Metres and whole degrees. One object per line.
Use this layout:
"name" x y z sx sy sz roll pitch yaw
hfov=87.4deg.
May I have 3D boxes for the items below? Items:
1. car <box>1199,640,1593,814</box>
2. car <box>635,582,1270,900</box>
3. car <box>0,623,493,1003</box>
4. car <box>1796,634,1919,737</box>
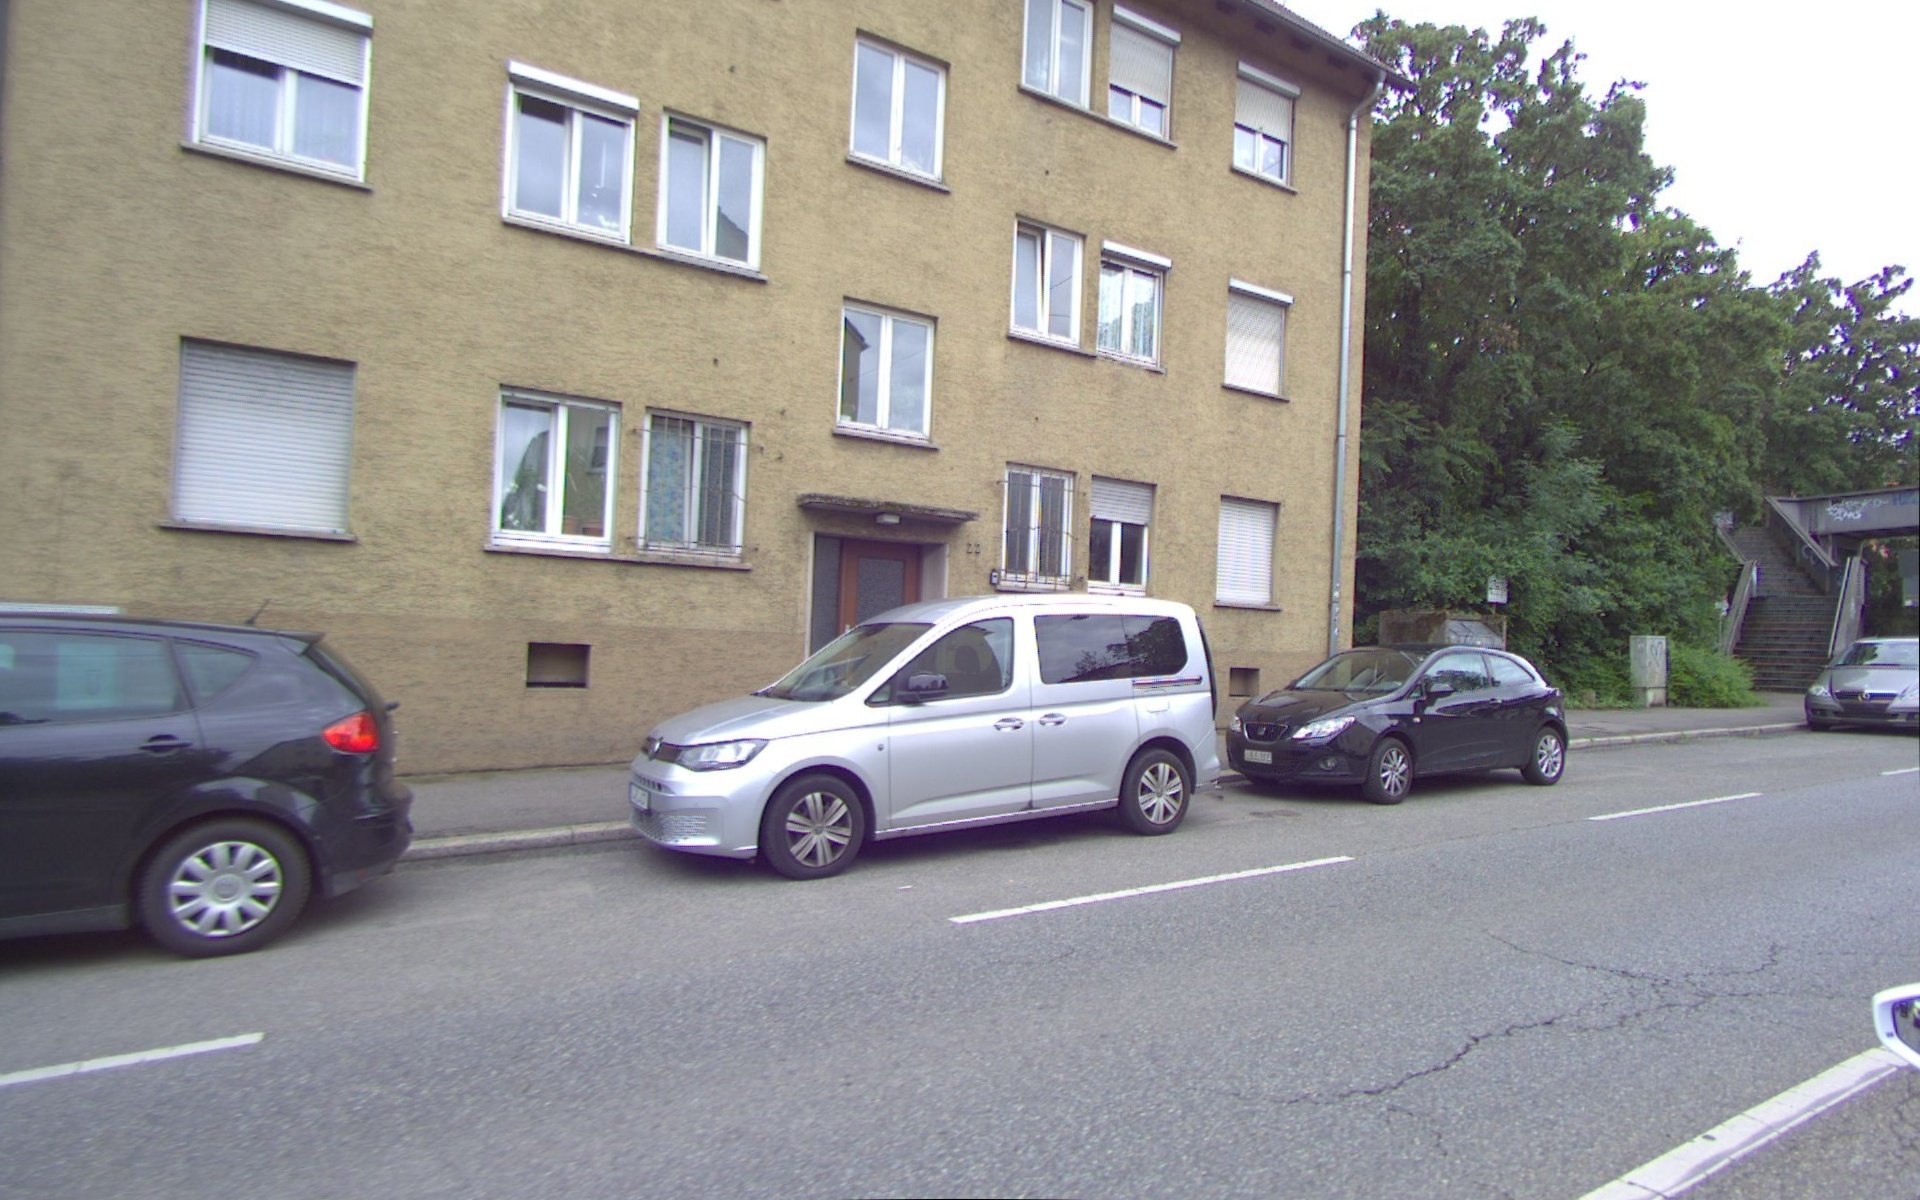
"car" 4.471 1.146 10.201 3.867 1.458 1.737 1 -3 -30
"car" 0.063 0.859 7.540 4.504 1.777 1.768 1 -2 -30
"car" -4.549 0.893 4.764 4.054 1.550 1.742 1 -2 -32
"car" 16.122 1.394 17.142 3.865 1.589 1.736 2 -3 -32
